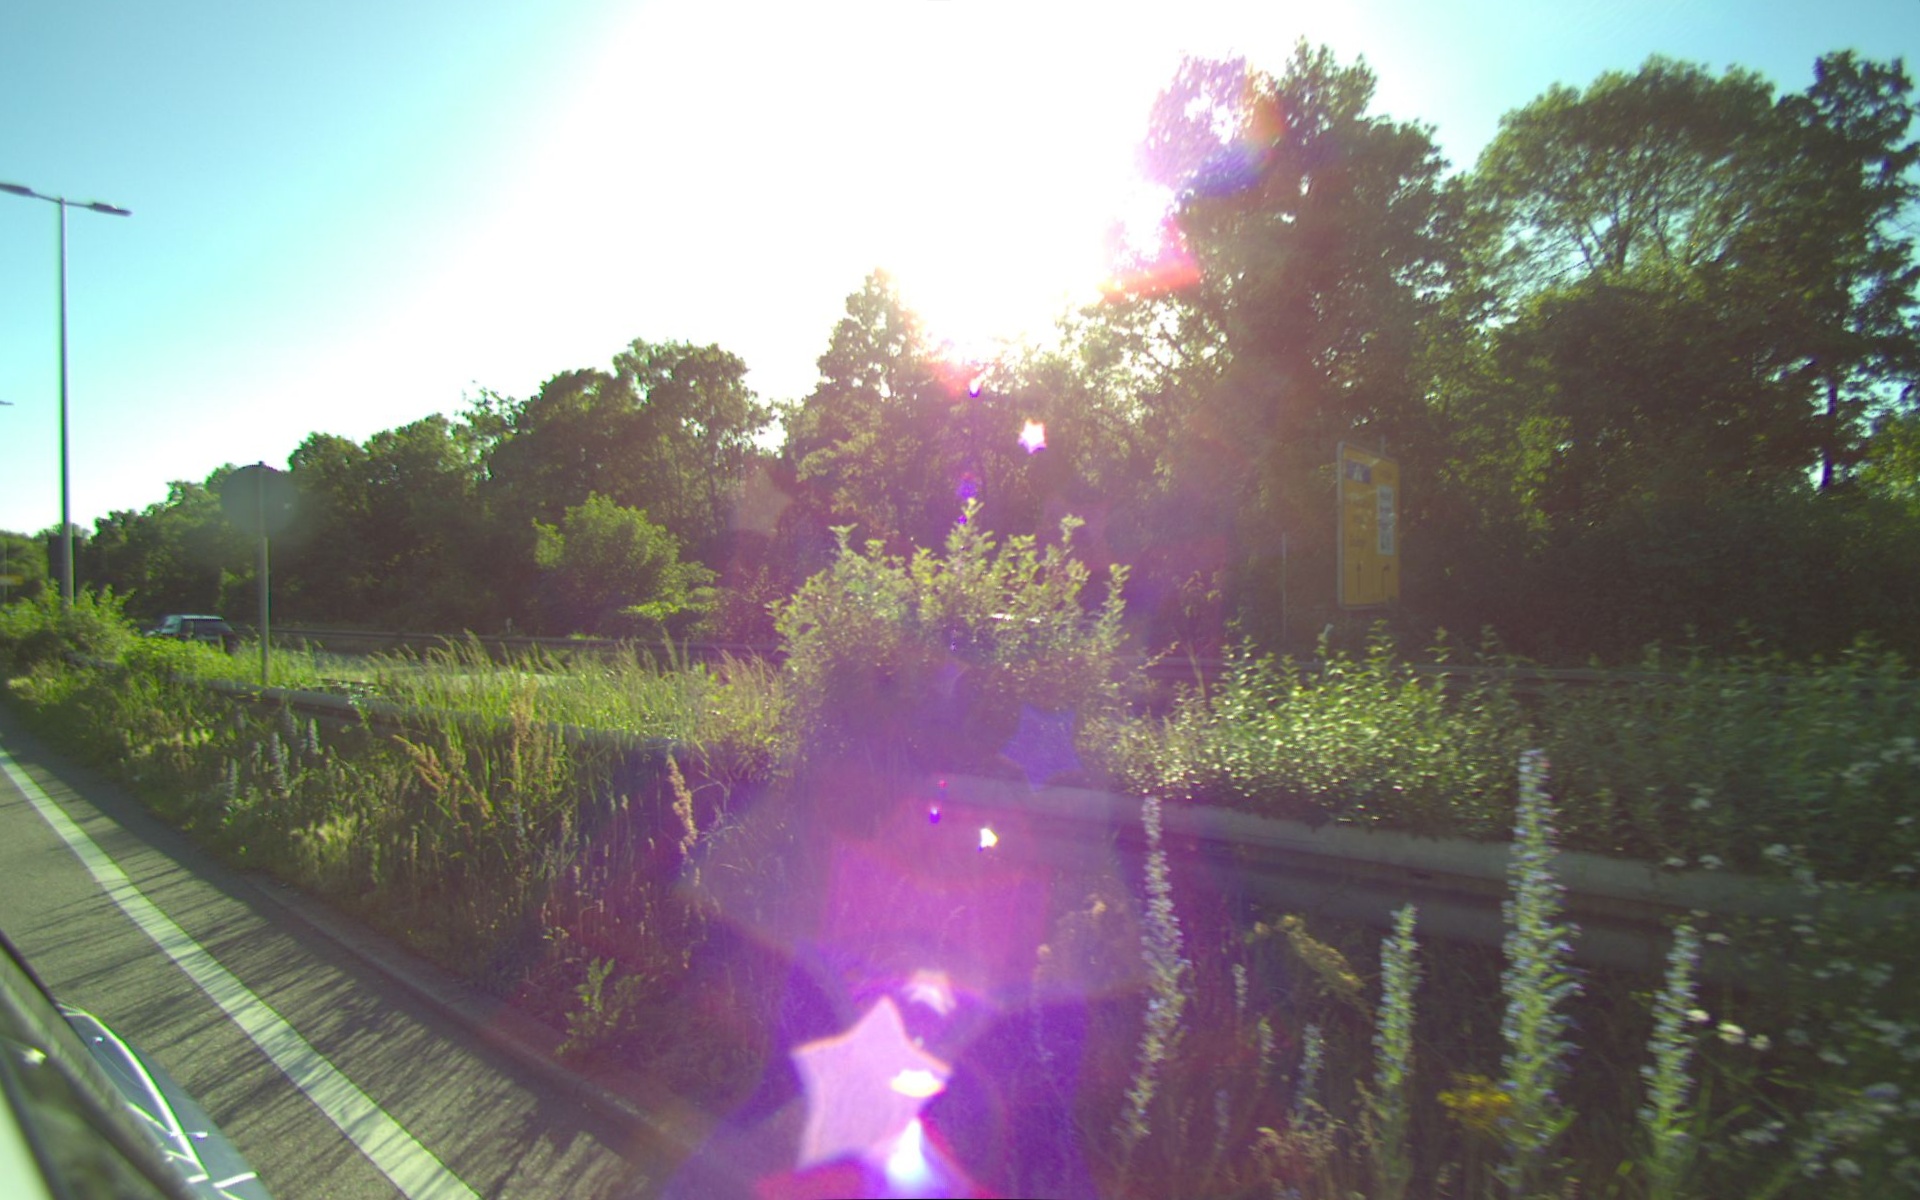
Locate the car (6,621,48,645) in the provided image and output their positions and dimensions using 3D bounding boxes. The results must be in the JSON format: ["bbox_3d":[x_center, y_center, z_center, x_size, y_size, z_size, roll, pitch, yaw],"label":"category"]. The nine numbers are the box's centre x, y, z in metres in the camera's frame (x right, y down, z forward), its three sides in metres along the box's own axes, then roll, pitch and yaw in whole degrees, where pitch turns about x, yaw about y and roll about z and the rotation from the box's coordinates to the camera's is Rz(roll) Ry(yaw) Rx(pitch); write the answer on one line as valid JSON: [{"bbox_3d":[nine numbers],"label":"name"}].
[{"bbox_3d":[-64.643,2.292,70.105,4.217,1.581,1.751,-1,-1,42],"label":"car"}]

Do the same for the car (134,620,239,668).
[{"bbox_3d":[-24.965,1.379,32.609,4.528,1.427,1.786,-1,-2,41],"label":"car"}]

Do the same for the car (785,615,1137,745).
[{"bbox_3d":[-0.077,0.953,13.231,4.355,1.431,1.869,-1,-3,36],"label":"car"}]
